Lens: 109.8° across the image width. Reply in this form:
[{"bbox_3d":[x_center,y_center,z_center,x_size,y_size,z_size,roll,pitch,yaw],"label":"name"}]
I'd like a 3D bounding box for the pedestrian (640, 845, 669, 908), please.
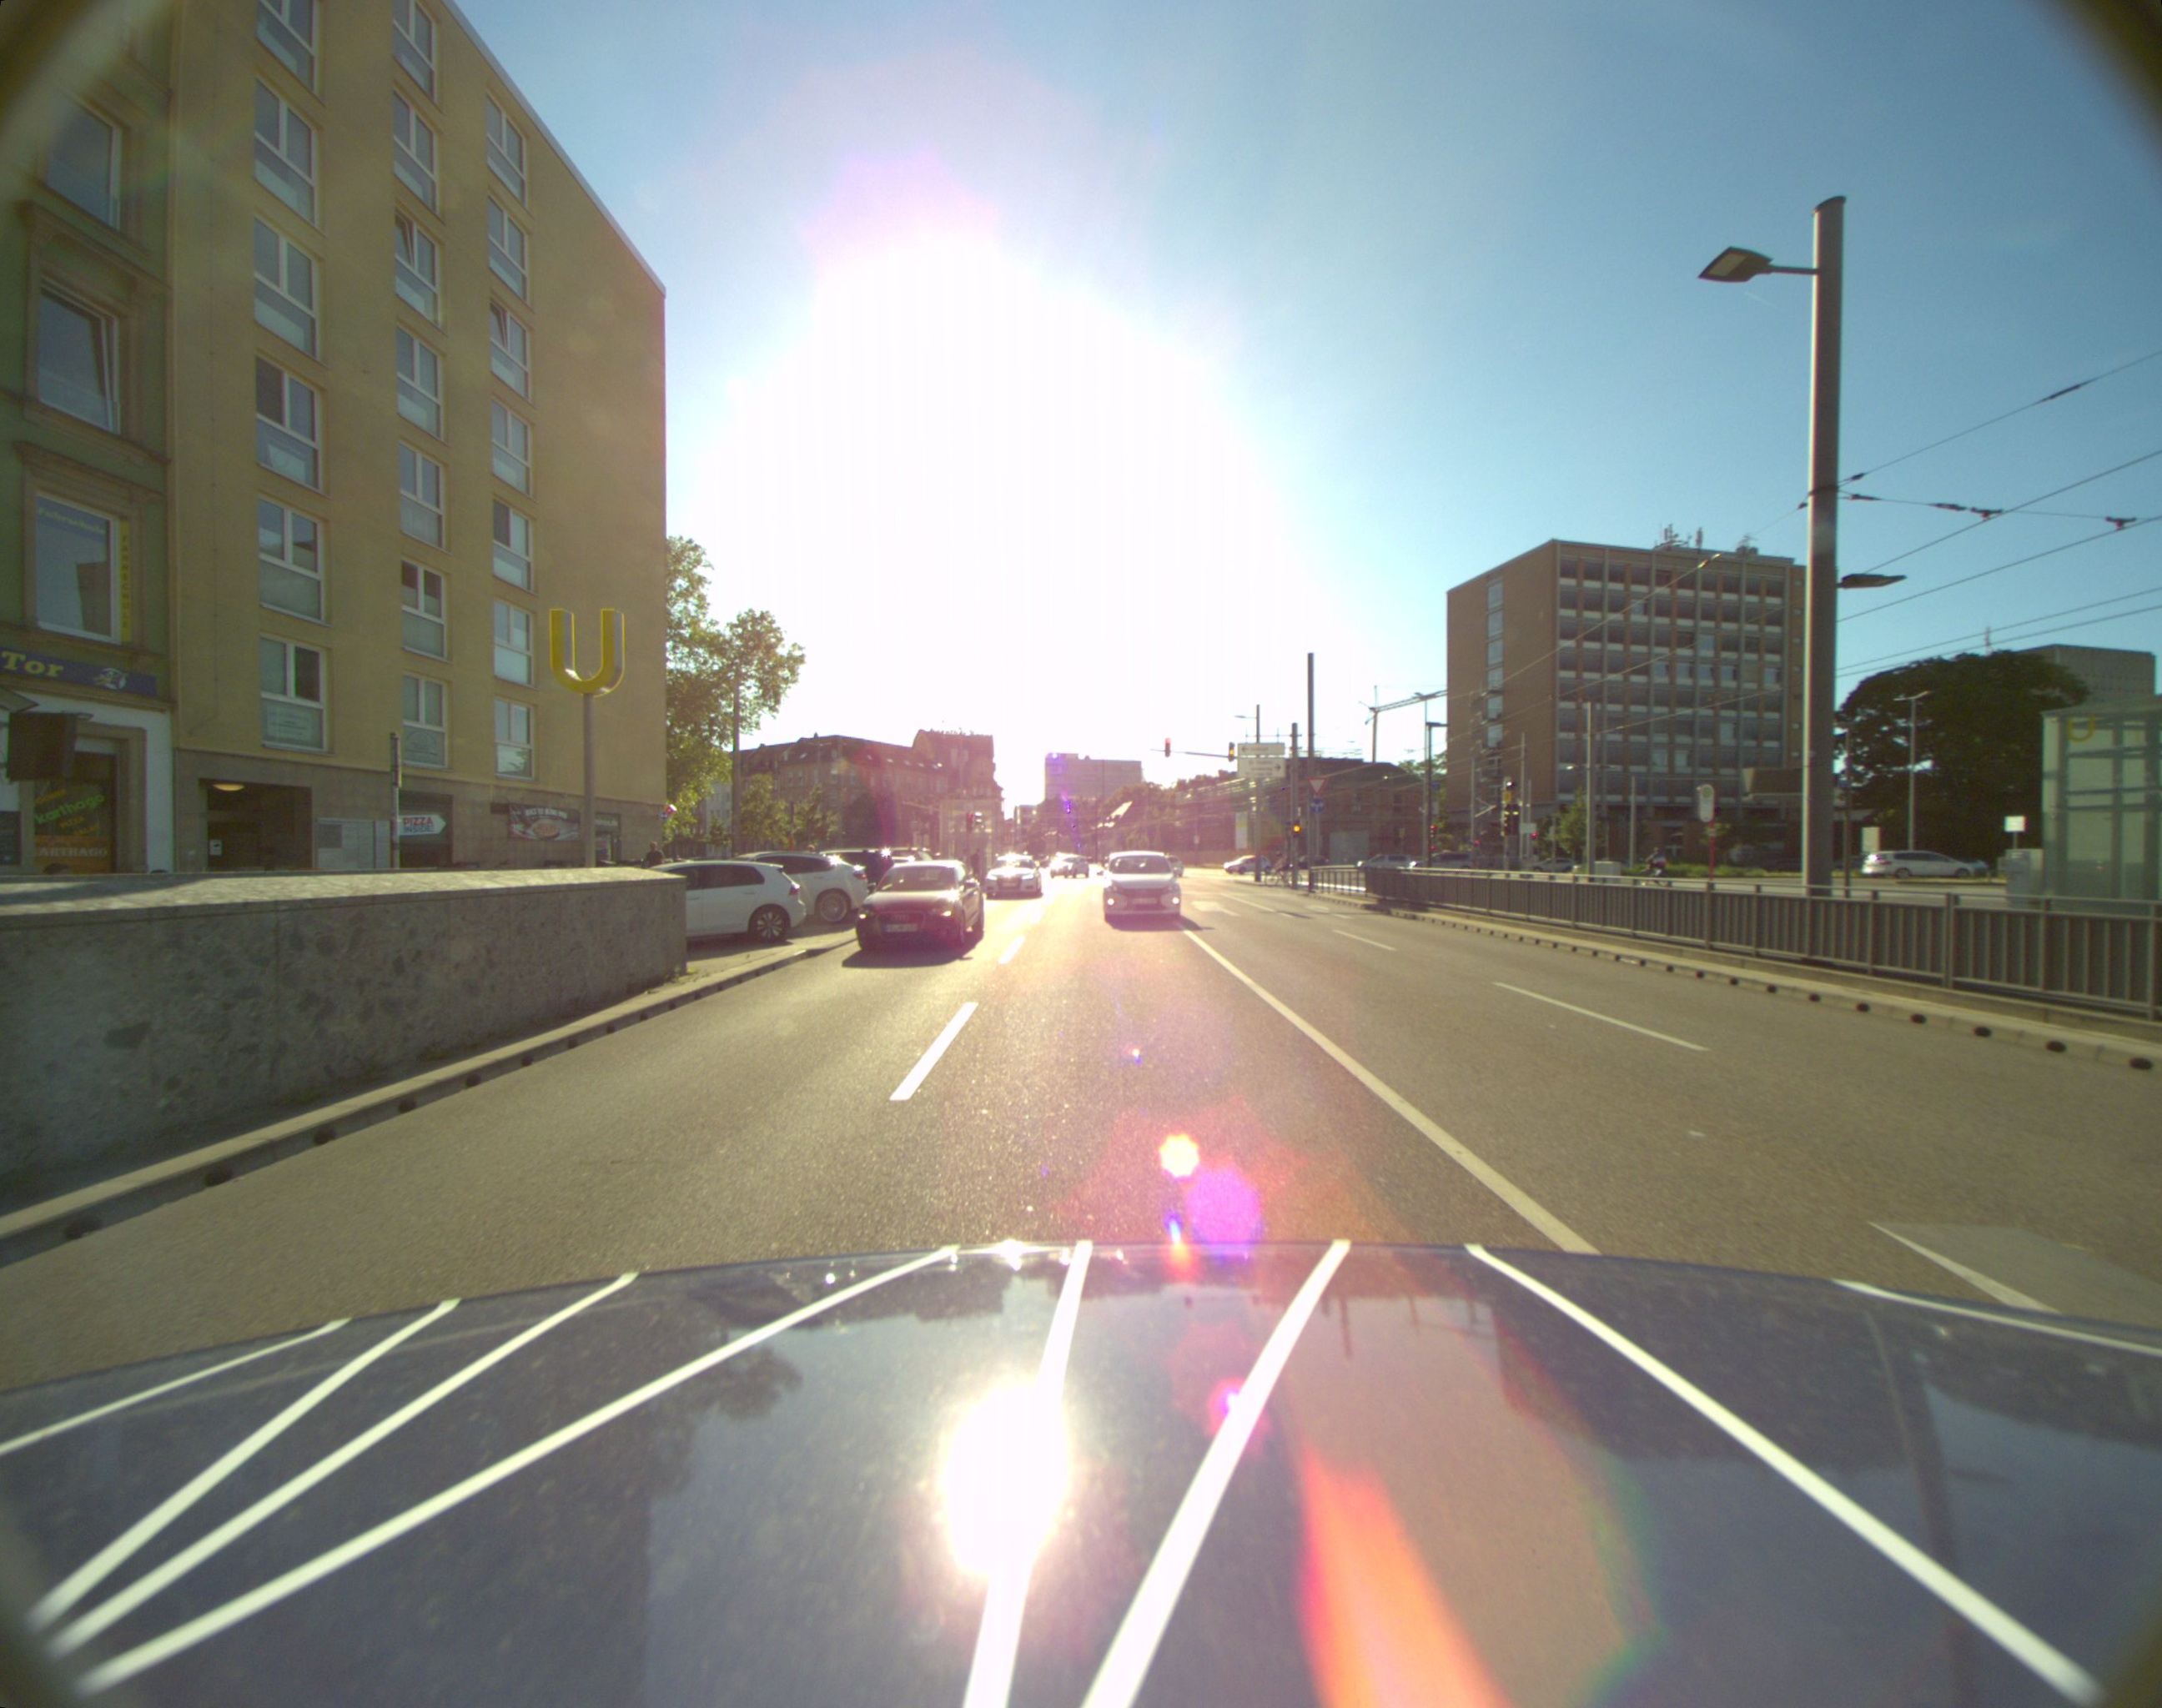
[{"bbox_3d":[-12.936,0.675,23.039,0.754,1.855,0.830,0,1,-29],"label":"pedestrian"}]

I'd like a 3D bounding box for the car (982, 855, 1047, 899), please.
[{"bbox_3d":[-2.338,0.765,27.823,1.825,1.380,4.457,-2,1,1],"label":"car"}]

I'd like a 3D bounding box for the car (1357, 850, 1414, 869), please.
[{"bbox_3d":[27.807,0.511,69.501,4.696,1.673,2.004,0,-2,19],"label":"car"}]

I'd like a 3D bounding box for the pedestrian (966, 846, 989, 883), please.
[{"bbox_3d":[-4.926,0.496,36.095,0.796,1.718,0.868,0,1,-31],"label":"pedestrian"}]

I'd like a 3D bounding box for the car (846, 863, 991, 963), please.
[{"bbox_3d":[-2.725,0.929,13.580,1.694,1.380,3.831,-1,1,1],"label":"car"}]

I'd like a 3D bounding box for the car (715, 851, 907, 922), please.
[{"bbox_3d":[-6.937,0.766,19.799,4.260,1.588,1.955,-1,0,-43],"label":"car"}]

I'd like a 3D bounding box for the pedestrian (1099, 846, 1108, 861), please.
[{"bbox_3d":[2.797,-0.064,95.443,0.693,1.837,0.817,3,-3,-43],"label":"pedestrian"}]

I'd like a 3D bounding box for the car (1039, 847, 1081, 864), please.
[{"bbox_3d":[-2.220,0.173,80.596,3.991,1.598,2.001,-2,4,20],"label":"car"}]

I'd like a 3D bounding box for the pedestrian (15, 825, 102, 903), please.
[{"bbox_3d":[-15.477,0.141,11.512,0.516,1.153,0.592,0,1,8],"label":"pedestrian"}]

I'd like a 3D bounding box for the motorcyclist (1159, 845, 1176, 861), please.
[{"bbox_3d":[8.897,-0.103,77.959,1.451,1.657,1.120,0,-2,22],"label":"motorcyclist"}]

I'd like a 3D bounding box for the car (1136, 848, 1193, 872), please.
[{"bbox_3d":[5.940,0.406,53.989,1.994,1.666,4.292,1,1,40],"label":"car"}]

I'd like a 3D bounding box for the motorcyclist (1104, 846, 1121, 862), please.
[{"bbox_3d":[3.415,-0.037,82.474,1.451,1.657,1.120,0,-2,22],"label":"motorcyclist"}]

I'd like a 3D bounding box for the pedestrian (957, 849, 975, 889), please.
[{"bbox_3d":[-4.997,0.634,32.917,0.698,1.718,0.752,0,1,-16],"label":"pedestrian"}]

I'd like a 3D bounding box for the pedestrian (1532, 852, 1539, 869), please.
[{"bbox_3d":[45.939,0.648,76.825,0.623,1.701,0.487,0,-2,35],"label":"pedestrian"}]

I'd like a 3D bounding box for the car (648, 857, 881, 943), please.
[{"bbox_3d":[-6.799,0.887,16.619,4.260,1.561,1.955,-1,0,-43],"label":"car"}]

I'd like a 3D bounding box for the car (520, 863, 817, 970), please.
[{"bbox_3d":[-6.912,0.919,12.957,4.121,1.455,1.956,0,1,-41],"label":"car"}]

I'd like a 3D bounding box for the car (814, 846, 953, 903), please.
[{"bbox_3d":[-6.877,0.644,26.675,4.259,1.803,1.955,-1,0,-41],"label":"car"}]

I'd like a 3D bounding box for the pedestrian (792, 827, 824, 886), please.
[{"bbox_3d":[-8.725,0.065,24.310,0.755,1.855,0.696,0,1,-41],"label":"pedestrian"}]

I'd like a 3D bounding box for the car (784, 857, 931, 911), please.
[{"bbox_3d":[-6.821,0.866,23.418,3.900,1.391,1.784,-3,1,-43],"label":"car"}]

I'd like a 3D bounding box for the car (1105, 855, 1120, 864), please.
[{"bbox_3d":[5.793,1.020,139.635,1.757,1.455,4.016,0,-1,-12],"label":"car"}]

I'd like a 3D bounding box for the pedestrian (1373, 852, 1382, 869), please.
[{"bbox_3d":[31.348,0.674,80.272,0.732,1.730,0.622,1,2,11],"label":"pedestrian"}]

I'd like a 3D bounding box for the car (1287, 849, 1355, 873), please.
[{"bbox_3d":[21.583,0.615,68.288,5.753,2.001,2.004,0,-2,20],"label":"car"}]

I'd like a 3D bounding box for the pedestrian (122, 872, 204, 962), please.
[{"bbox_3d":[-13.965,0.939,11.570,0.516,1.311,0.592,0,1,8],"label":"pedestrian"}]

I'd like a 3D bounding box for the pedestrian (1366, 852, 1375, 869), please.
[{"bbox_3d":[30.686,0.661,80.530,0.620,1.730,0.667,2,3,43],"label":"pedestrian"}]

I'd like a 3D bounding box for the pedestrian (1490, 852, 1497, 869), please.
[{"bbox_3d":[39.878,0.588,73.407,0.503,1.625,0.428,1,-2,8],"label":"pedestrian"}]

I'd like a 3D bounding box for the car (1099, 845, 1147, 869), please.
[{"bbox_3d":[3.399,0.272,61.069,1.994,1.673,4.010,0,-3,35],"label":"car"}]

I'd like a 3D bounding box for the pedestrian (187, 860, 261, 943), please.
[{"bbox_3d":[-13.861,0.752,12.299,0.516,1.311,0.592,0,1,8],"label":"pedestrian"}]

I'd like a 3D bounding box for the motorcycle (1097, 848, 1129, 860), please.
[{"bbox_3d":[3.496,0.007,82.437,3.225,1.187,1.120,0,-2,22],"label":"motorcycle"}]

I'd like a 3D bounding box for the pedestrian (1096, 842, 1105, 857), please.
[{"bbox_3d":[2.444,-0.557,94.570,0.693,1.837,0.817,3,-3,-43],"label":"pedestrian"}]

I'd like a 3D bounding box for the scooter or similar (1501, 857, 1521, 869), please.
[{"bbox_3d":[44.608,0.916,78.807,0.801,1.239,1.704,2,-2,-27],"label":"scooter or similar"}]
